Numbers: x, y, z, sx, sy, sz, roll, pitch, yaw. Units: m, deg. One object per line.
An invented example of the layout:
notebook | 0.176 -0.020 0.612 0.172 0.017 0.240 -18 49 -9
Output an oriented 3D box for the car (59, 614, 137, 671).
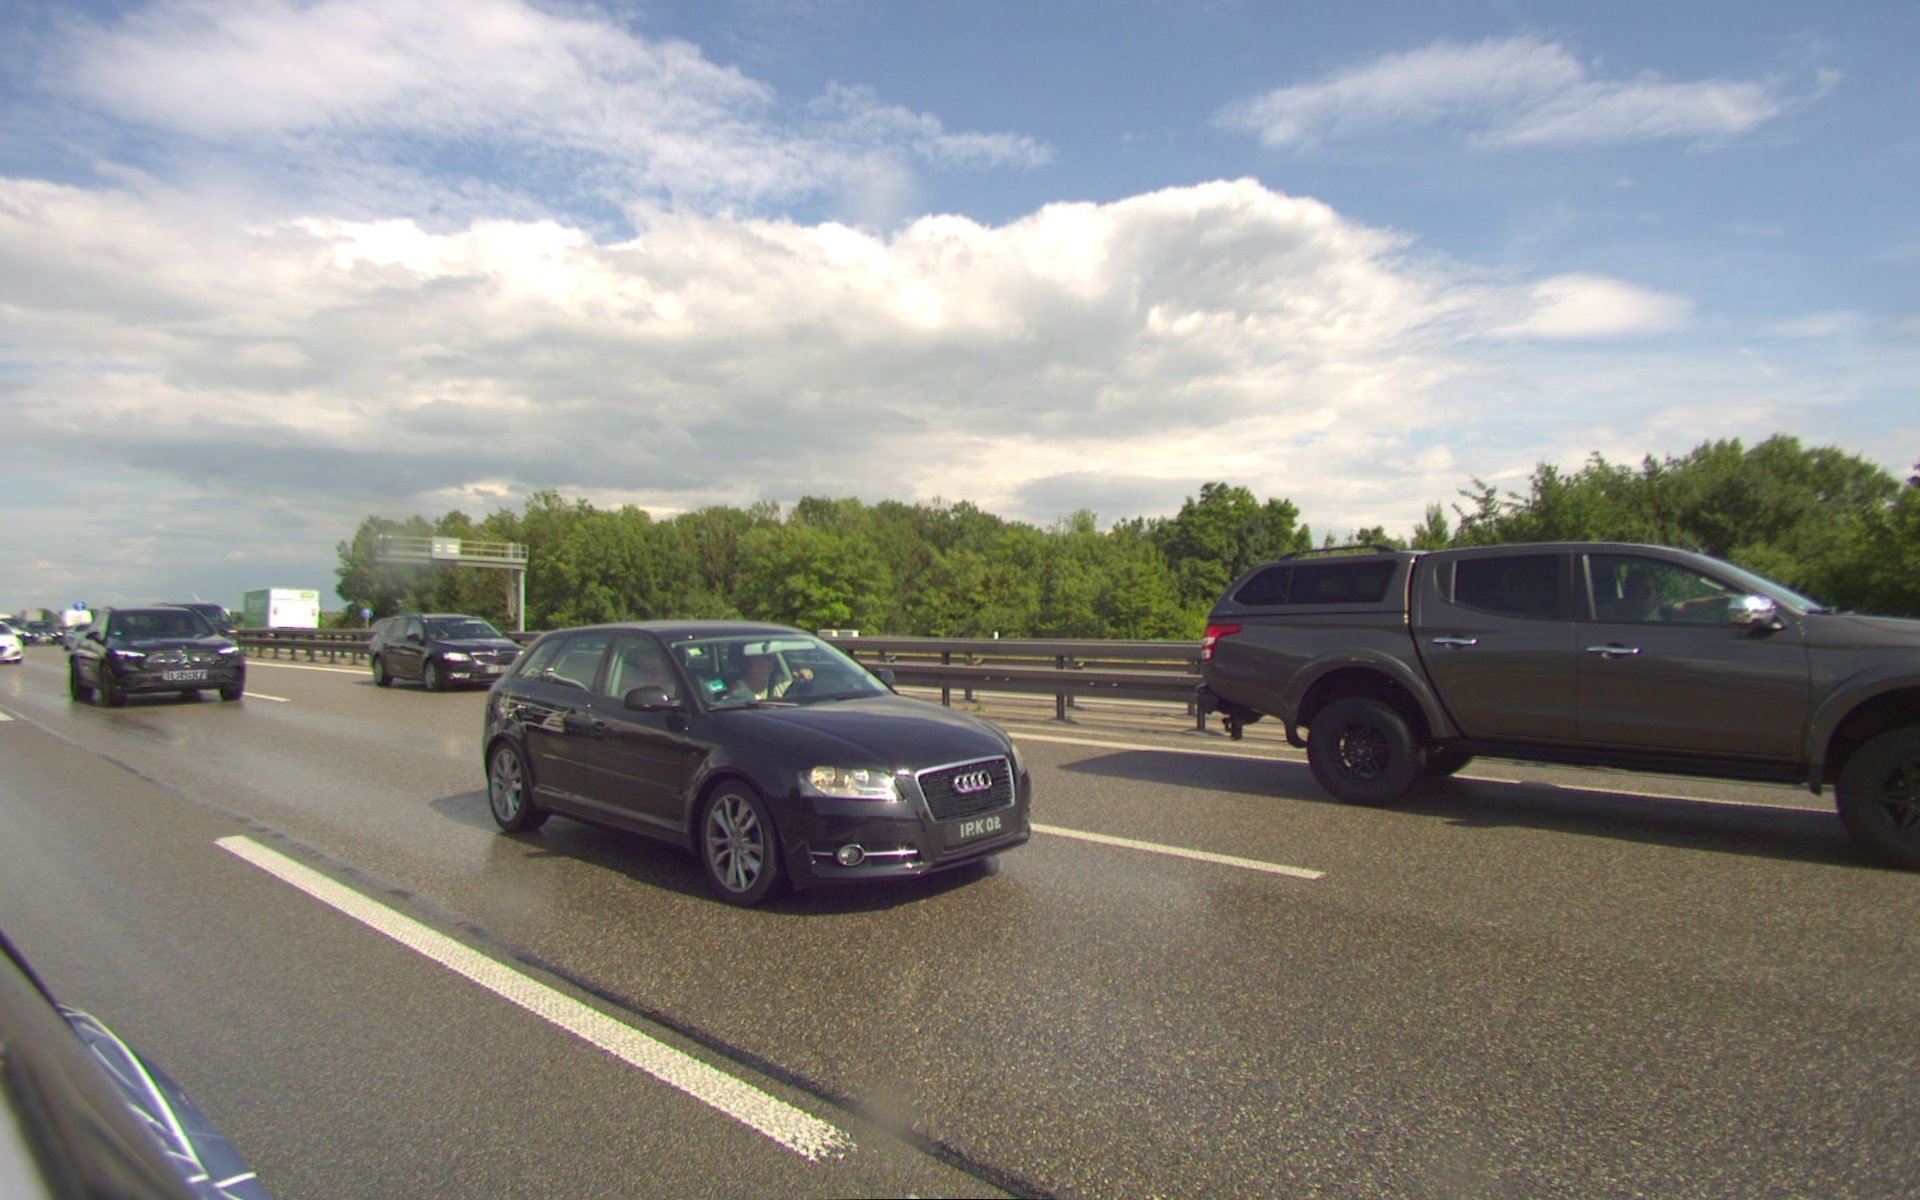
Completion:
car | -25.789 1.245 30.250 2.829 1.609 1.391 -1 -1 41

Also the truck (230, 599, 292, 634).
truck | -58.306 1.364 84.275 8.720 2.747 2.314 -1 0 42

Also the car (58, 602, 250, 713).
car | -14.183 0.918 17.708 4.624 1.692 1.857 -1 -1 41

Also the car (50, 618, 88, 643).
car | -88.626 3.005 100.642 6.099 2.414 2.092 -1 -1 41

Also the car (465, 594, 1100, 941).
car | -1.319 0.733 6.238 4.053 1.444 1.732 -1 -1 42

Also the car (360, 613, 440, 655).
car | -22.589 1.357 40.788 3.314 1.586 1.800 -1 -1 41

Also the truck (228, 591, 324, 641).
truck | -43.585 0.989 64.338 8.717 3.009 2.886 -1 0 41

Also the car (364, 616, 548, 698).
car | -10.075 1.051 20.082 4.373 1.435 1.899 -1 -1 44

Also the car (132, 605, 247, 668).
car | -25.496 1.166 33.415 5.232 1.932 1.973 -1 -1 41

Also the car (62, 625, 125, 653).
car | -40.213 1.793 46.952 3.583 1.198 1.832 -1 -1 43

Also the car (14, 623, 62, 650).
car | -52.103 2.037 57.161 3.998 1.431 1.597 -1 -1 41

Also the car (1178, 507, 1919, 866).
car | 4.364 0.473 6.962 5.416 1.858 1.787 -1 -1 42

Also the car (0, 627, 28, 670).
car | -32.858 1.612 34.058 4.239 1.408 1.785 -1 -1 42
